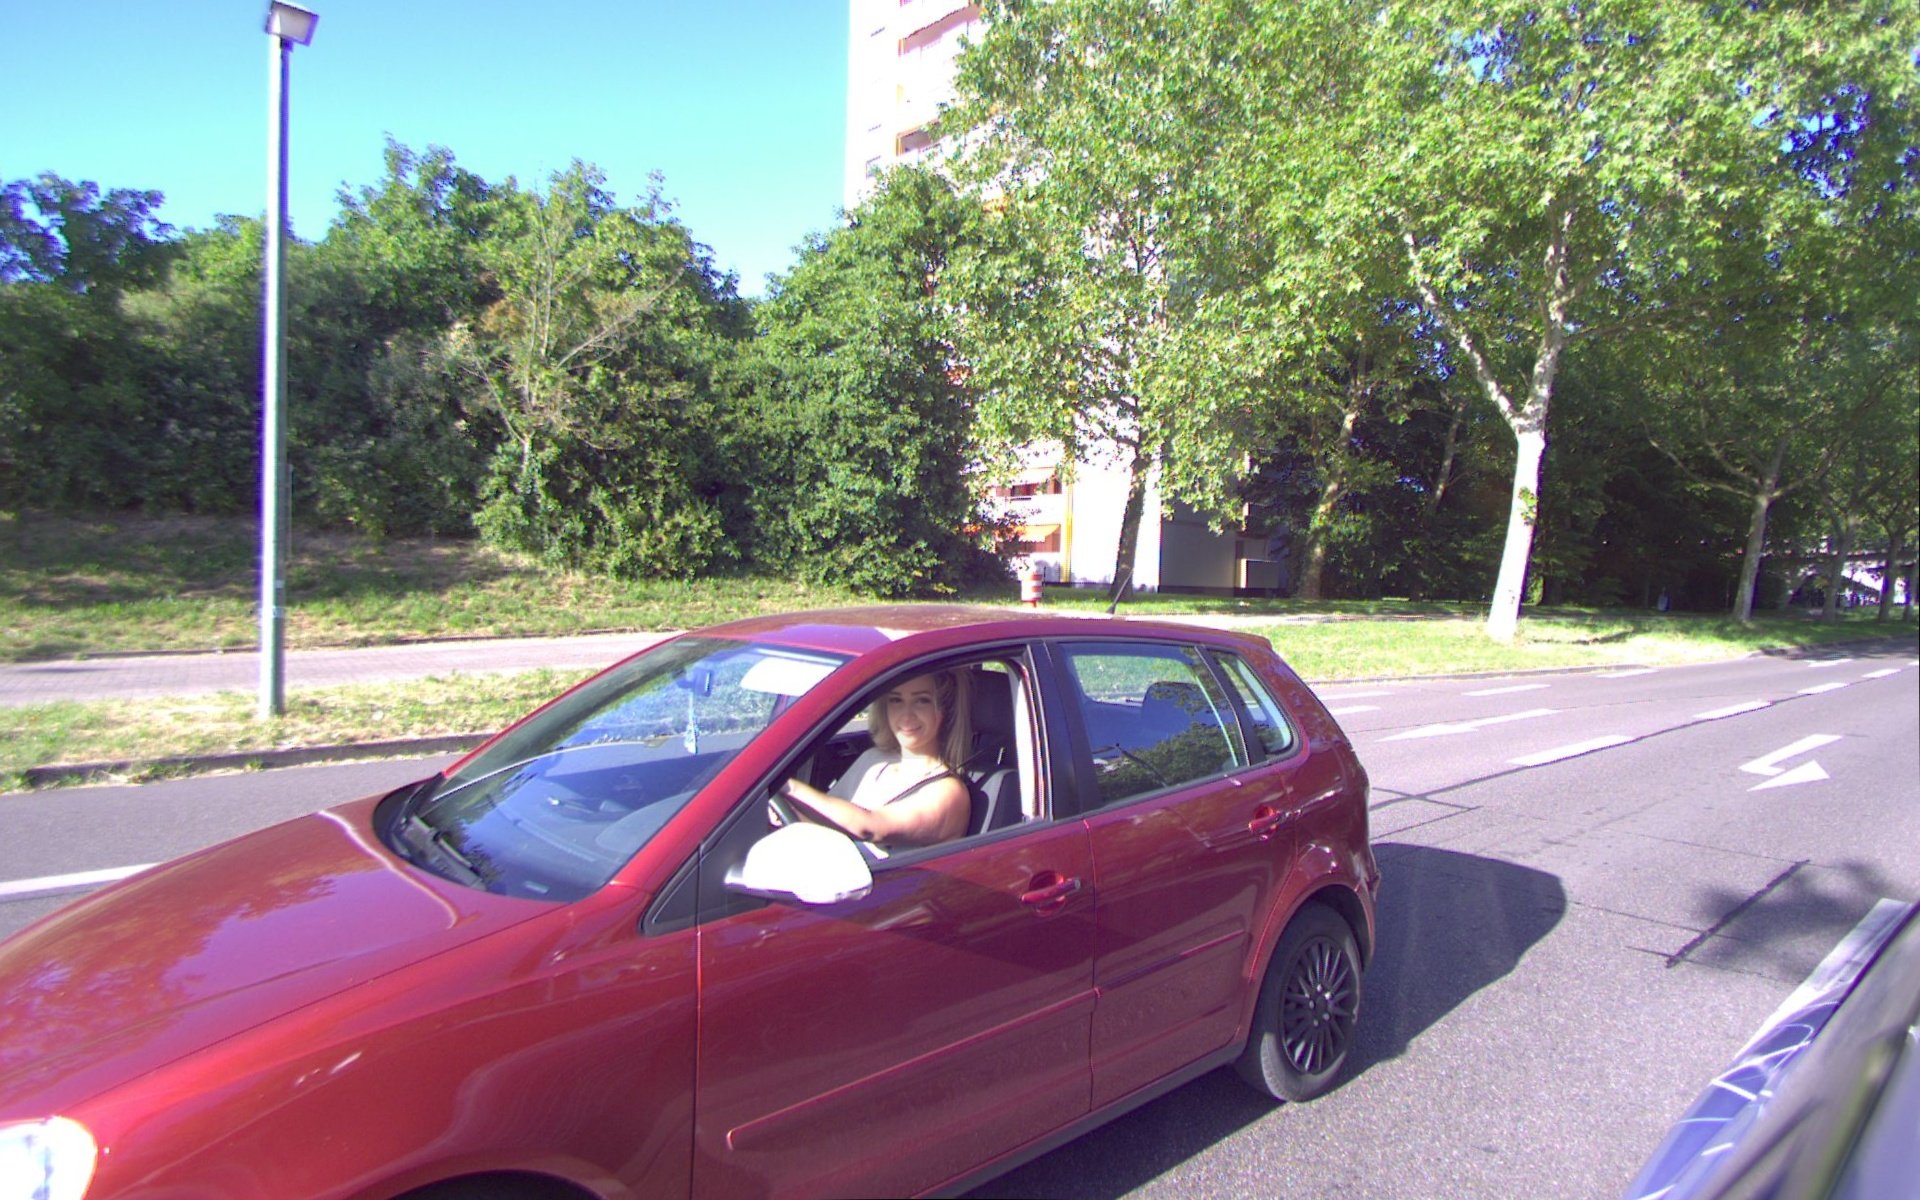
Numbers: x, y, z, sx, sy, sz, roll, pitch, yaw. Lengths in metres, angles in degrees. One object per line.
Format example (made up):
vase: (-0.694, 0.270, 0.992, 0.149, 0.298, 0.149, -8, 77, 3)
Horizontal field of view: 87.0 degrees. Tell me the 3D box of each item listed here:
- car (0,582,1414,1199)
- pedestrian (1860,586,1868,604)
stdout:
car: (-0.460, 0.691, 2.762, 3.627, 1.434, 1.626, 0, 1, -39)
pedestrian: (76.119, -0.448, 85.220, 0.410, 1.481, 0.398, 0, 1, -40)
